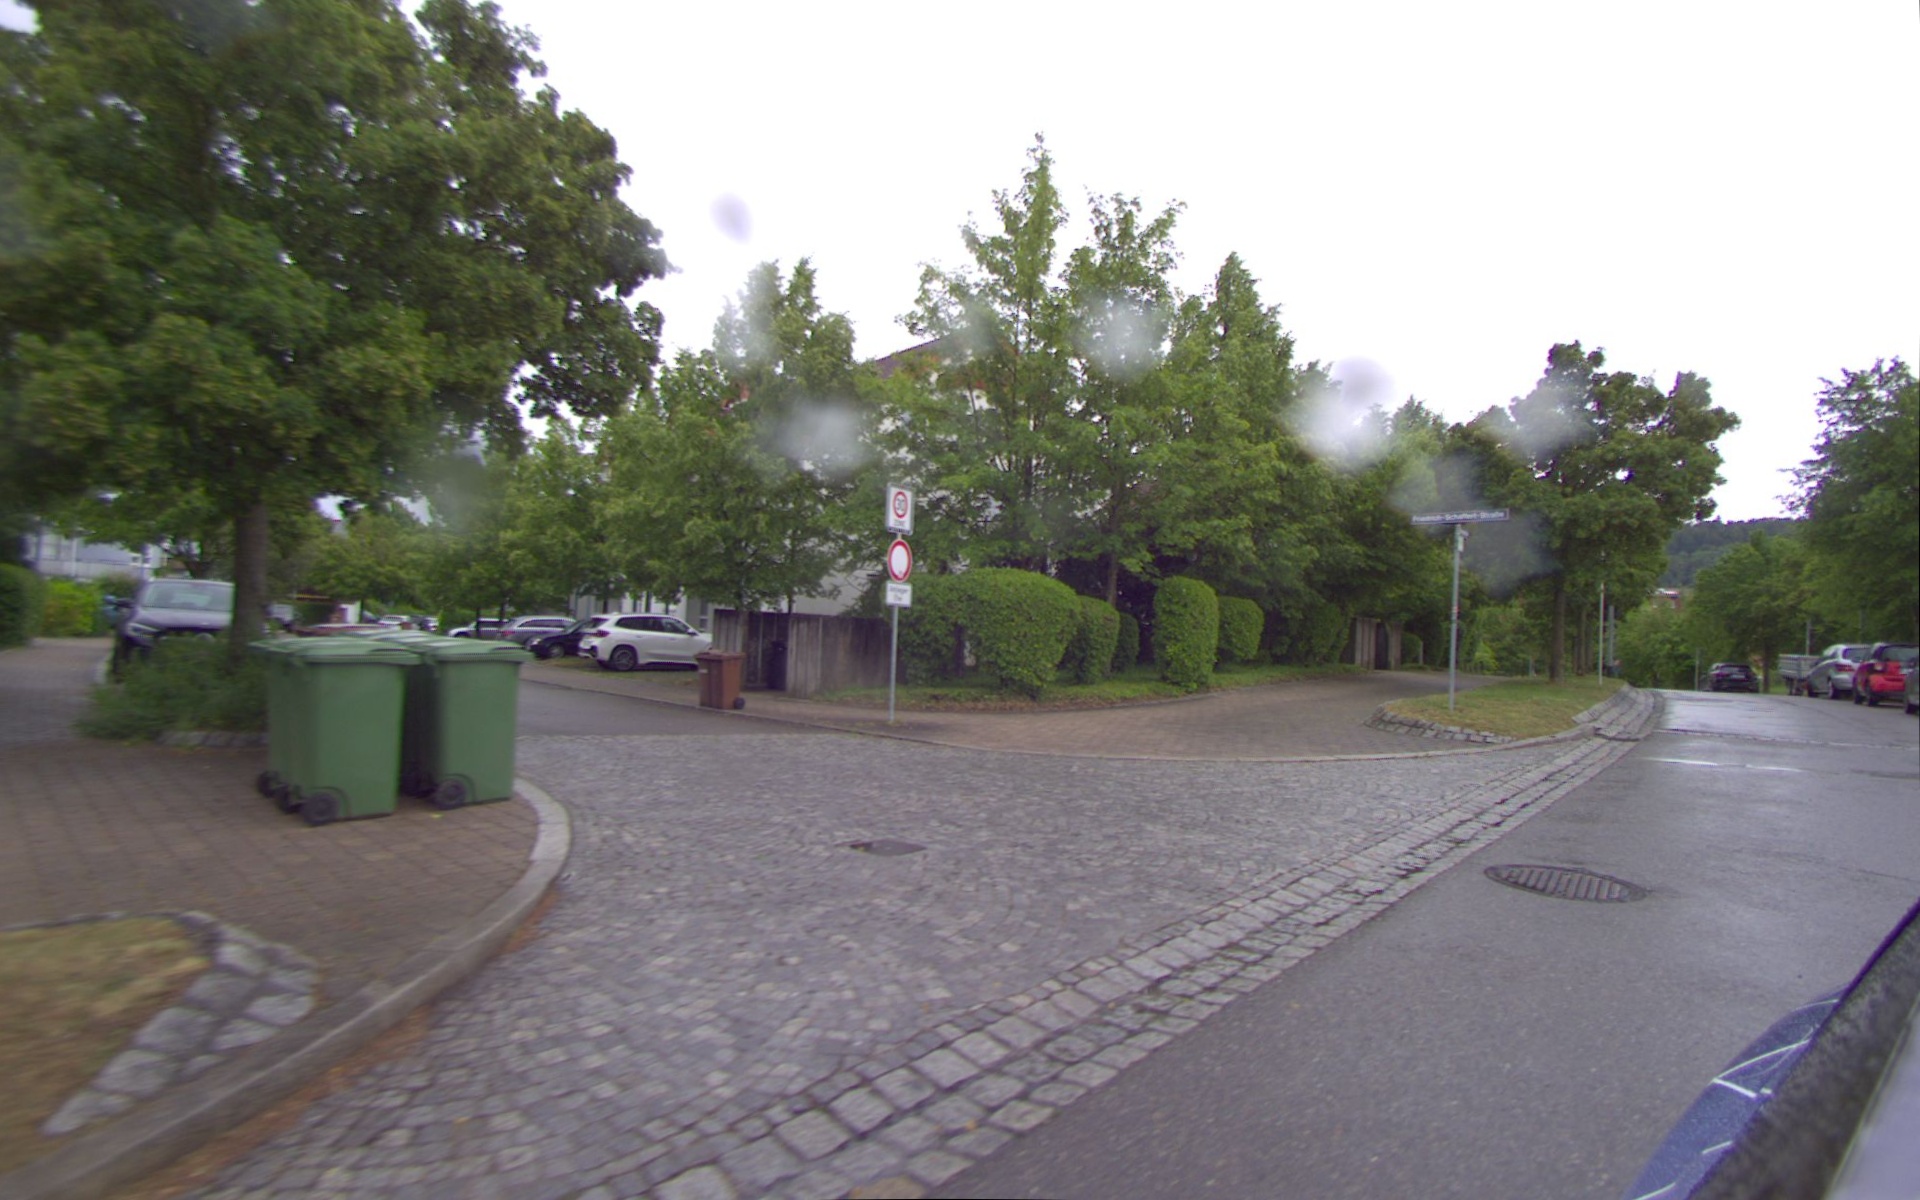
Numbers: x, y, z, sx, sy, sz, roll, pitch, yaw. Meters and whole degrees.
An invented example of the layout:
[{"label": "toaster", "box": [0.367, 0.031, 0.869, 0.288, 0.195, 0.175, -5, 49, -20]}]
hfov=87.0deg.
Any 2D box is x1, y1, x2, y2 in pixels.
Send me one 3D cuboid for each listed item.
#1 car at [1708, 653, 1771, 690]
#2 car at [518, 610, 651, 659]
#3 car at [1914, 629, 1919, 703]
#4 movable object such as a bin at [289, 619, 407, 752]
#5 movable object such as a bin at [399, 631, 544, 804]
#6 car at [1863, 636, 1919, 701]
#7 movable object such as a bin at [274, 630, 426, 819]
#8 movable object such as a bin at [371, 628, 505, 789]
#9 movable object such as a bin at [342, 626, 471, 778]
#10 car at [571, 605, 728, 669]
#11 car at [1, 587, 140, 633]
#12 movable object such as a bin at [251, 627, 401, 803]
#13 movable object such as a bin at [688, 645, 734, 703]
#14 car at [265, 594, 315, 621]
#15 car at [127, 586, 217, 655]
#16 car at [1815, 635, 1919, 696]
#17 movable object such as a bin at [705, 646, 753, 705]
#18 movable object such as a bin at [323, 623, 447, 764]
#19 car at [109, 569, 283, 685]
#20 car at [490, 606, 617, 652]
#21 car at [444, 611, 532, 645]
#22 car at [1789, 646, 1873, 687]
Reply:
[{"label": "car", "box": [39.099, 3.603, 50.839, 1.945, 1.628, 3.956, 1, -4, 30]}, {"label": "car", "box": [-12.763, 1.137, 34.428, 3.923, 1.547, 1.780, 1, 0, -34]}, {"label": "car", "box": [19.560, 1.320, 19.256, 1.670, 1.498, 3.505, 0, -2, 37]}, {"label": "movable object such as a bin", "box": [-5.288, 0.714, 8.753, 0.603, 1.068, 0.686, 1, -1, 40]}, {"label": "movable object such as a bin", "box": [-3.361, 0.770, 6.969, 0.599, 1.088, 0.686, 1, -1, 40]}, {"label": "car", "box": [22.683, 1.620, 24.035, 1.545, 1.455, 2.971, 0, -3, 37]}, {"label": "movable object such as a bin", "box": [-3.834, 0.744, 6.373, 0.541, 1.087, 0.657, 1, -1, 41]}, {"label": "movable object such as a bin", "box": [-3.808, 0.759, 7.396, 0.541, 1.088, 0.686, 1, -1, 40]}, {"label": "movable object such as a bin", "box": [-4.255, 0.750, 7.790, 0.576, 1.081, 0.686, 1, -1, 40]}, {"label": "car", "box": [-8.803, 1.007, 28.778, 3.923, 1.685, 1.780, 1, 0, -34]}, {"label": "car", "box": [-34.805, 0.432, 39.657, 1.902, 1.588, 3.935, -1, -3, 44]}, {"label": "movable object such as a bin", "box": [-4.277, 0.739, 6.837, 0.595, 1.086, 0.686, 1, -1, 40]}, {"label": "movable object such as a bin", "box": [-4.175, 1.233, 16.995, 0.561, 0.943, 0.530, 3, -3, -37]}, {"label": "car", "box": [-46.792, 0.530, 70.793, 1.761, 1.833, 3.857, 2, -1, -16]}, {"label": "car", "box": [-18.869, 0.485, 24.237, 1.488, 1.496, 3.270, 5, -4, -38]}, {"label": "car", "box": [26.130, 1.857, 29.050, 1.838, 1.572, 3.943, 1, -3, 32]}, {"label": "movable object such as a bin", "box": [-3.788, 1.230, 16.594, 0.561, 0.943, 0.530, 3, -3, -37]}, {"label": "movable object such as a bin", "box": [-4.681, 0.731, 8.244, 0.603, 1.068, 0.686, 1, -1, 40]}, {"label": "car", "box": [-12.027, 0.413, 15.828, 1.750, 1.538, 4.129, 6, -4, -41]}, {"label": "car", "box": [-14.575, 1.008, 36.324, 3.923, 1.553, 1.780, 1, 0, -34]}, {"label": "car", "box": [-24.644, 1.423, 52.846, 3.923, 1.685, 1.780, 1, 0, -34]}, {"label": "car", "box": [30.795, 2.324, 35.873, 1.720, 1.297, 3.290, 1, -2, 31]}]
